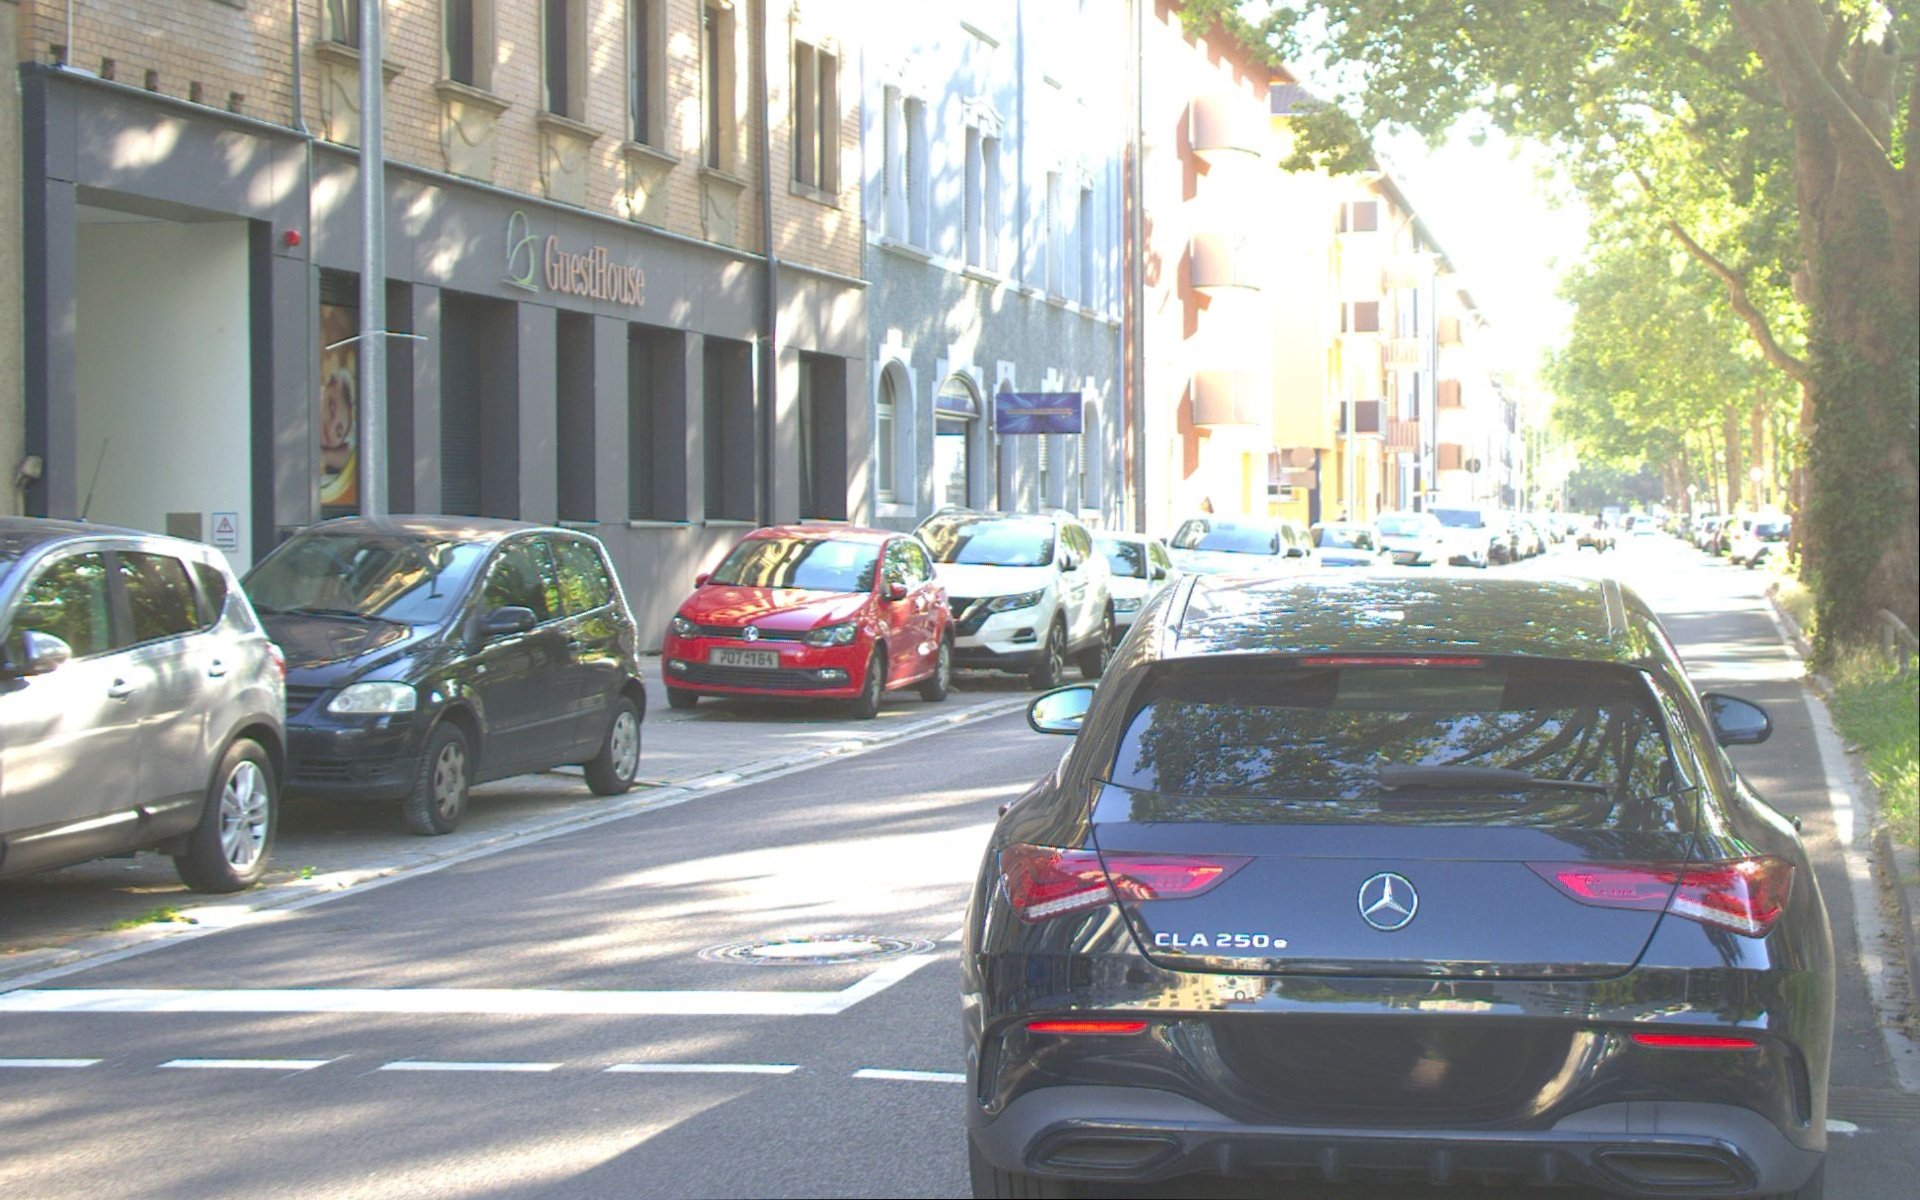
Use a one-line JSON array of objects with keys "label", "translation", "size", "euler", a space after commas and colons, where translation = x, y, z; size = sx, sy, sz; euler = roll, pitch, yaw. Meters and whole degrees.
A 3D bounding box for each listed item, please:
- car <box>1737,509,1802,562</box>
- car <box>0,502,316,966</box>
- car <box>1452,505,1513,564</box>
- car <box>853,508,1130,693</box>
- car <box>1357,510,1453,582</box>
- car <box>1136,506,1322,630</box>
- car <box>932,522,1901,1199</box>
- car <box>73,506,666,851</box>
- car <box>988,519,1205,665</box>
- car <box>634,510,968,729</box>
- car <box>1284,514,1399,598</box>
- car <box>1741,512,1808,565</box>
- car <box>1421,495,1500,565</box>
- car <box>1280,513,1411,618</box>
[{"label": "car", "translation": [24.914, -1.980, 105.850], "size": [1.811, 1.533, 4.581], "euler": [-3, 0, 12]}, {"label": "car", "translation": [-4.209, 0.462, 13.402], "size": [1.782, 1.667, 4.154], "euler": [2, 2, 13]}, {"label": "car", "translation": [16.759, -2.120, 110.218], "size": [1.746, 1.781, 4.547], "euler": [2, 2, 10]}, {"label": "car", "translation": [0.372, -0.056, 32.321], "size": [1.679, 1.579, 4.197], "euler": [2, 2, 13]}, {"label": "car", "translation": [10.033, -1.234, 77.292], "size": [1.679, 1.518, 4.019], "euler": [2, 2, 13]}, {"label": "car", "translation": [3.876, -0.499, 48.831], "size": [1.909, 1.636, 4.575], "euler": [2, 2, 13]}, {"label": "car", "translation": [0.879, 0.569, 8.302], "size": [1.744, 1.438, 3.969], "euler": [1, 2, 1]}, {"label": "car", "translation": [-3.019, 0.320, 18.340], "size": [1.679, 1.599, 3.703], "euler": [2, 2, 15]}, {"label": "car", "translation": [1.583, -0.135, 38.540], "size": [1.679, 1.491, 3.869], "euler": [2, 2, 13]}, {"label": "car", "translation": [-1.196, 0.093, 27.590], "size": [1.679, 1.586, 3.754], "euler": [2, 2, 13]}, {"label": "car", "translation": [7.169, -0.847, 64.391], "size": [1.679, 1.481, 3.599], "euler": [2, 2, 13]}, {"label": "car", "translation": [23.480, -1.767, 99.176], "size": [1.635, 1.463, 4.019], "euler": [-2, 1, 10]}, {"label": "car", "translation": [14.146, -1.992, 96.996], "size": [1.735, 1.900, 5.206], "euler": [1, 2, 13]}, {"label": "car", "translation": [6.444, -0.607, 57.119], "size": [1.679, 1.636, 3.982], "euler": [2, 2, 13]}]
